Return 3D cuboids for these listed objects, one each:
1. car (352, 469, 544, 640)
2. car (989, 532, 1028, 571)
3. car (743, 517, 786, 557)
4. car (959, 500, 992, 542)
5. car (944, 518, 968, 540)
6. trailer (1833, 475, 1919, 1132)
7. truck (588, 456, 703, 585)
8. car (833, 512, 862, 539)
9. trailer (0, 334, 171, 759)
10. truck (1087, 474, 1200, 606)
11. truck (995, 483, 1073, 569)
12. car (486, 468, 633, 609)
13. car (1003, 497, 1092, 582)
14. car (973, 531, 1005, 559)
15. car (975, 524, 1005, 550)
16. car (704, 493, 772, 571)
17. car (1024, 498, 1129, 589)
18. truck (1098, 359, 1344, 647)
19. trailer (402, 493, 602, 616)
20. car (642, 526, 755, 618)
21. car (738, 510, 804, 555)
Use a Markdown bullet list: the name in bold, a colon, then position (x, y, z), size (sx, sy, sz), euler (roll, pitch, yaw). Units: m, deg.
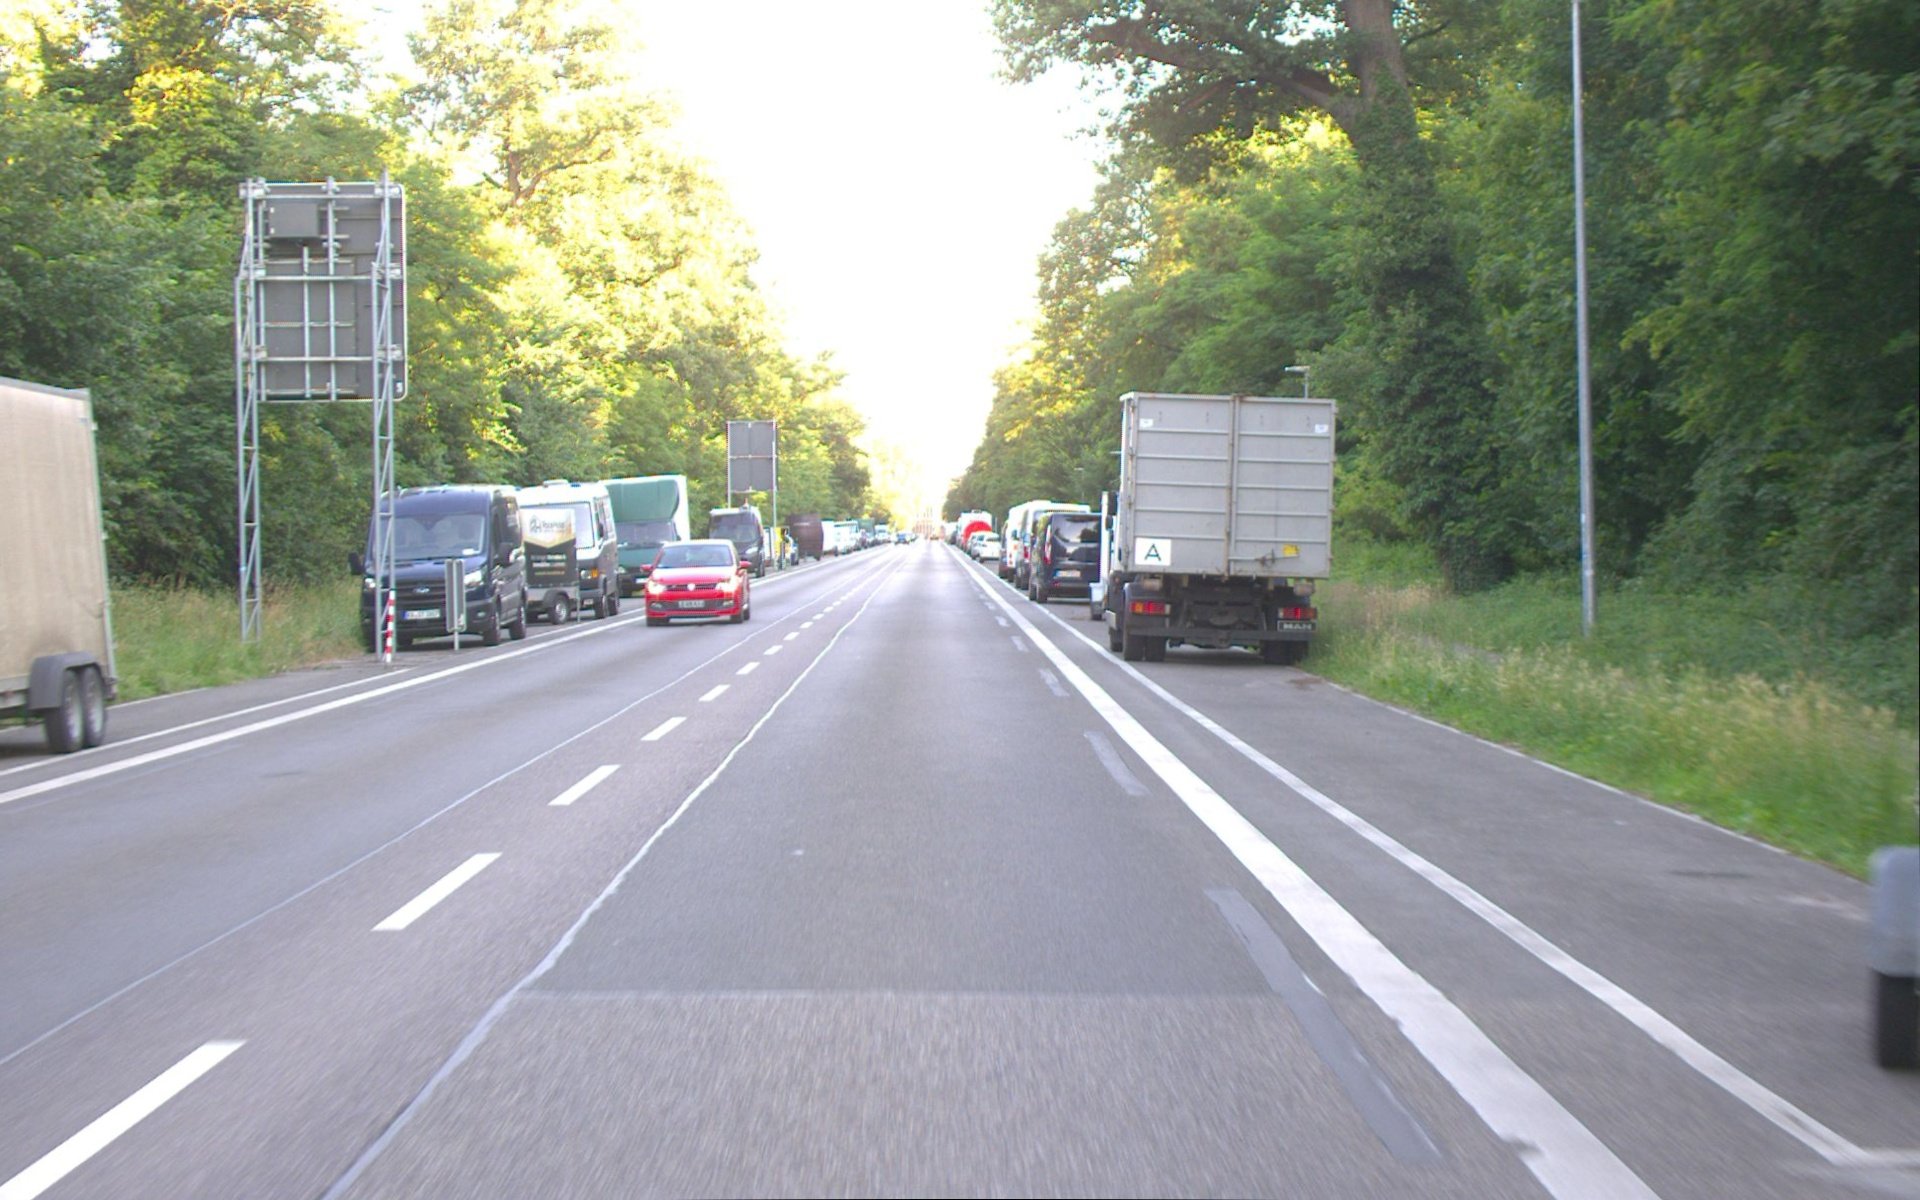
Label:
- **car**: position (-7.716, -0.720, 52.389), size (1.993, 2.356, 5.766), euler (-3, 1, 0)
- **car**: position (1.611, -1.626, 114.683), size (1.147, 1.247, 2.754), euler (-1, 1, -3)
- **car**: position (-8.547, -2.771, 150.308), size (1.771, 1.666, 4.001), euler (1, 2, -2)
- **car**: position (1.138, -5.885, 255.598), size (2.314, 3.082, 5.640), euler (1, 1, -1)
- **car**: position (-0.289, -4.902, 238.249), size (1.645, 1.481, 3.595), euler (1, 1, -1)
- **trailer**: position (3.503, 0.450, 10.277), size (1.457, 1.656, 3.774), euler (-1, 1, 18)
- **truck**: position (-8.544, -2.192, 94.038), size (2.504, 3.317, 6.842), euler (-2, 1, -1)
- **car**: position (-8.452, -5.623, 258.743), size (1.993, 2.007, 4.000), euler (-2, 1, 1)
- **trailer**: position (-7.793, -0.380, 25.954), size (2.325, 2.914, 5.627), euler (-3, 1, -1)
- **truck**: position (3.275, -1.084, 61.950), size (1.885, 2.275, 4.300), euler (0, 1, 1)
- **truck**: position (2.312, -2.334, 108.792), size (2.141, 2.650, 4.300), euler (0, 1, -3)
- **car**: position (-7.958, -1.262, 68.809), size (2.249, 2.638, 5.722), euler (-2, 1, -1)
- **car**: position (2.410, -1.681, 95.704), size (2.141, 2.305, 4.300), euler (0, 1, -3)
- **car**: position (1.610, -3.045, 190.926), size (1.645, 1.481, 4.000), euler (1, 1, -1)
- **car**: position (1.503, -3.181, 173.683), size (1.427, 1.218, 3.412), euler (-3, 1, 0)
- **car**: position (-8.317, -2.569, 129.023), size (2.186, 2.779, 5.334), euler (-2, 1, -1)
- **car**: position (2.557, -1.256, 76.451), size (1.993, 1.948, 4.300), euler (0, 1, -3)
- **truck**: position (3.097, -1.165, 42.536), size (2.589, 3.244, 7.221), euler (0, 1, 1)
- **trailer**: position (-8.384, -0.863, 63.287), size (1.965, 2.147, 3.926), euler (-1, 1, 21)
- **car**: position (-4.535, -0.515, 60.035), size (1.682, 1.481, 4.038), euler (-2, 1, -1)
- **car**: position (-8.707, -3.113, 158.718), size (1.701, 2.006, 3.997), euler (2, 2, 18)
